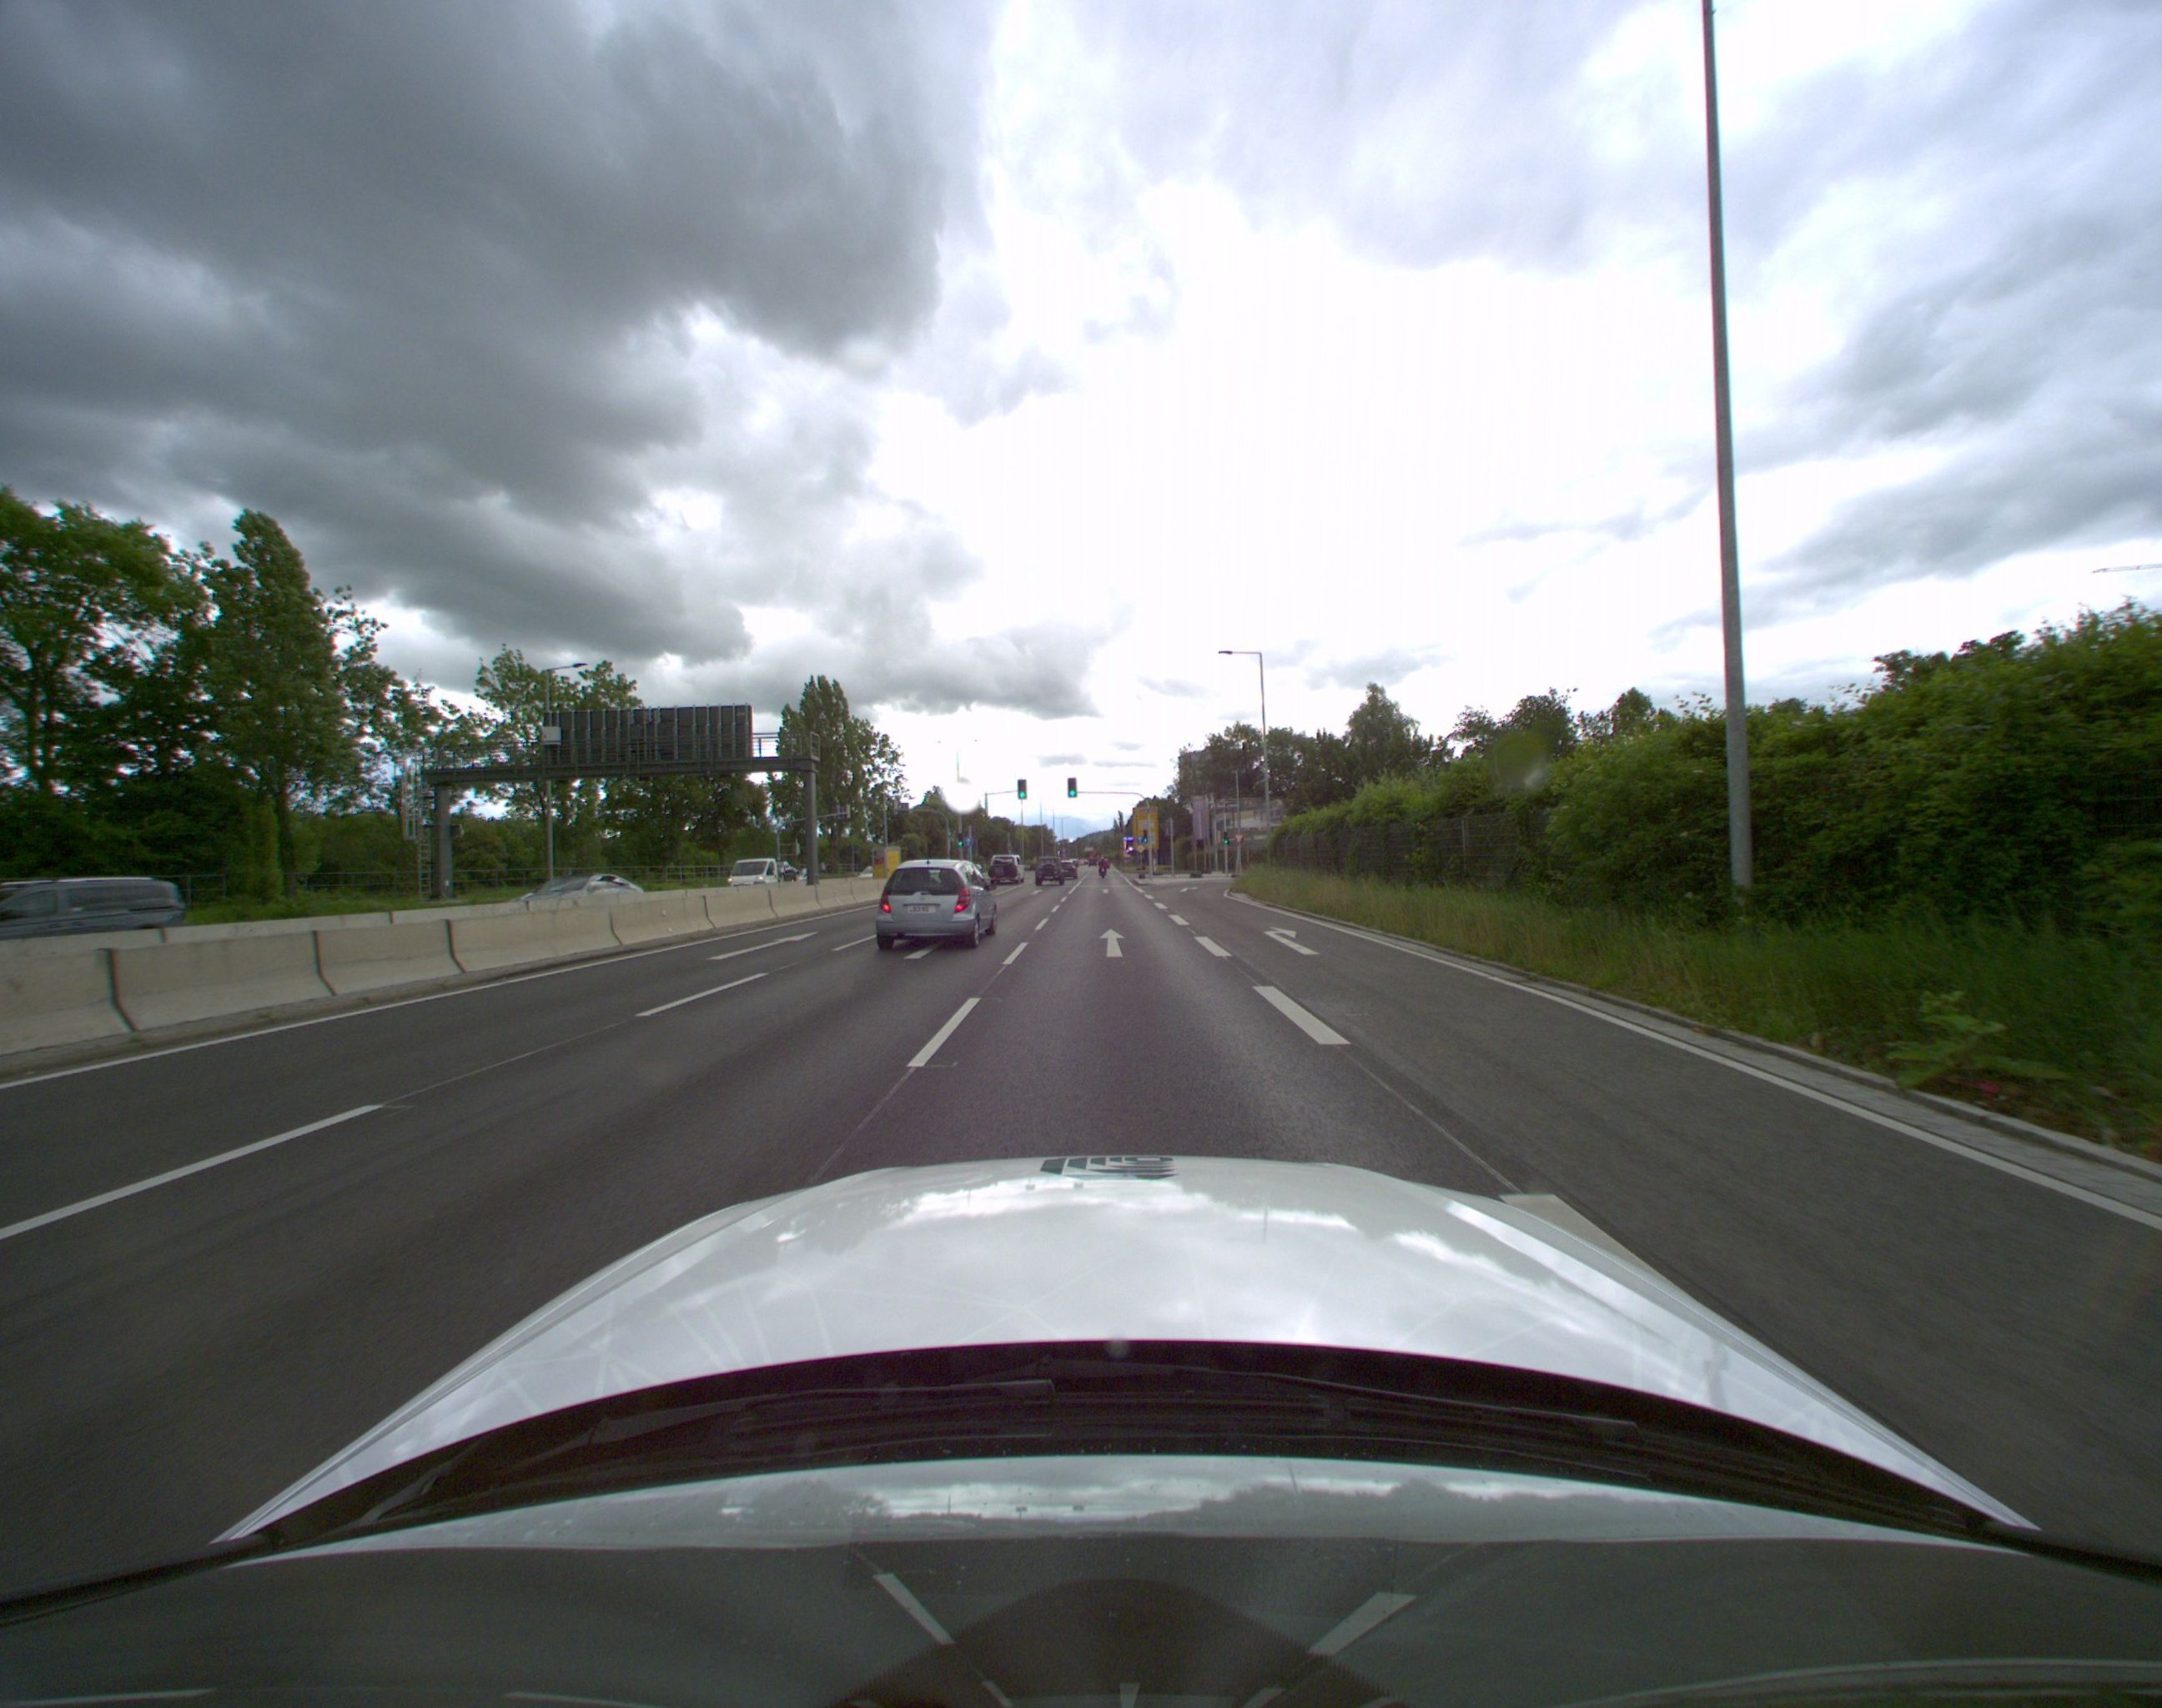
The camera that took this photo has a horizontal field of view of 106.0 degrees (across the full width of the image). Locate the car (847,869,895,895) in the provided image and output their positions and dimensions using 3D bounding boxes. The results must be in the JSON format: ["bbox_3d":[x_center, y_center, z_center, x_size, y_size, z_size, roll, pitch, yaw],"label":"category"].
[{"bbox_3d":[-14.394,1.878,56.018,1.986,1.668,4.696,0,0,1],"label":"car"}]

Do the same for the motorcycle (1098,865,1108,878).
[{"bbox_3d":[1.775,1.396,65.405,0.703,1.040,2.028,0,0,3],"label":"motorcycle"}]

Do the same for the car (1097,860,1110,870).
[{"bbox_3d":[3.562,1.656,128.551,1.987,1.552,4.000,0,0,0],"label":"car"}]

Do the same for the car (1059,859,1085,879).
[{"bbox_3d":[-0.673,1.158,63.551,1.833,1.464,4.001,0,0,1],"label":"car"}]

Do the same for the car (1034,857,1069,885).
[{"bbox_3d":[-1.761,1.010,49.781,1.901,1.684,4.001,0,0,2],"label":"car"}]

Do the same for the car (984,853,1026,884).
[{"bbox_3d":[-4.887,0.909,53.351,2.207,1.926,5.002,0,0,1],"label":"car"}]

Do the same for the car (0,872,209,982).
[{"bbox_3d":[-21.482,1.428,16.589,1.986,2.014,4.938,0,0,1],"label":"car"}]

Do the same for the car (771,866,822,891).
[{"bbox_3d":[-20.315,1.718,58.316,1.986,1.684,4.412,0,0,1],"label":"car"}]

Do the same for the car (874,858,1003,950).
[{"bbox_3d":[-2.600,0.858,15.748,1.704,1.530,4.000,0,0,1],"label":"car"}]

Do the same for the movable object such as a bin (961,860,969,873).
[{"bbox_3d":[-9.542,1.052,66.957,0.539,1.059,0.741,0,0,1],"label":"movable object such as a bin"}]

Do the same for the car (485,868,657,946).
[{"bbox_3d":[-14.781,1.446,24.000,1.986,2.014,4.682,0,0,1],"label":"car"}]

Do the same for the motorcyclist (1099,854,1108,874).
[{"bbox_3d":[1.782,0.791,65.391,0.682,1.610,0.846,0,-1,3],"label":"motorcyclist"}]

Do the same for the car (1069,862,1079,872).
[{"bbox_3d":[-1.408,2.661,168.643,1.986,2.014,4.001,0,0,2],"label":"car"}]

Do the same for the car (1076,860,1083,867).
[{"bbox_3d":[-0.382,2.680,238.519,1.986,2.014,4.002,0,0,2],"label":"car"}]

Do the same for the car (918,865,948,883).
[{"bbox_3d":[-14.303,1.885,78.842,1.986,1.684,4.412,0,0,1],"label":"car"}]

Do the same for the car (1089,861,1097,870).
[{"bbox_3d":[2.827,2.645,191.710,1.986,2.014,4.001,0,0,2],"label":"car"}]

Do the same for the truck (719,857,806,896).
[{"bbox_3d":[-17.387,1.172,44.915,2.196,2.014,6.303,0,0,1],"label":"truck"}]
